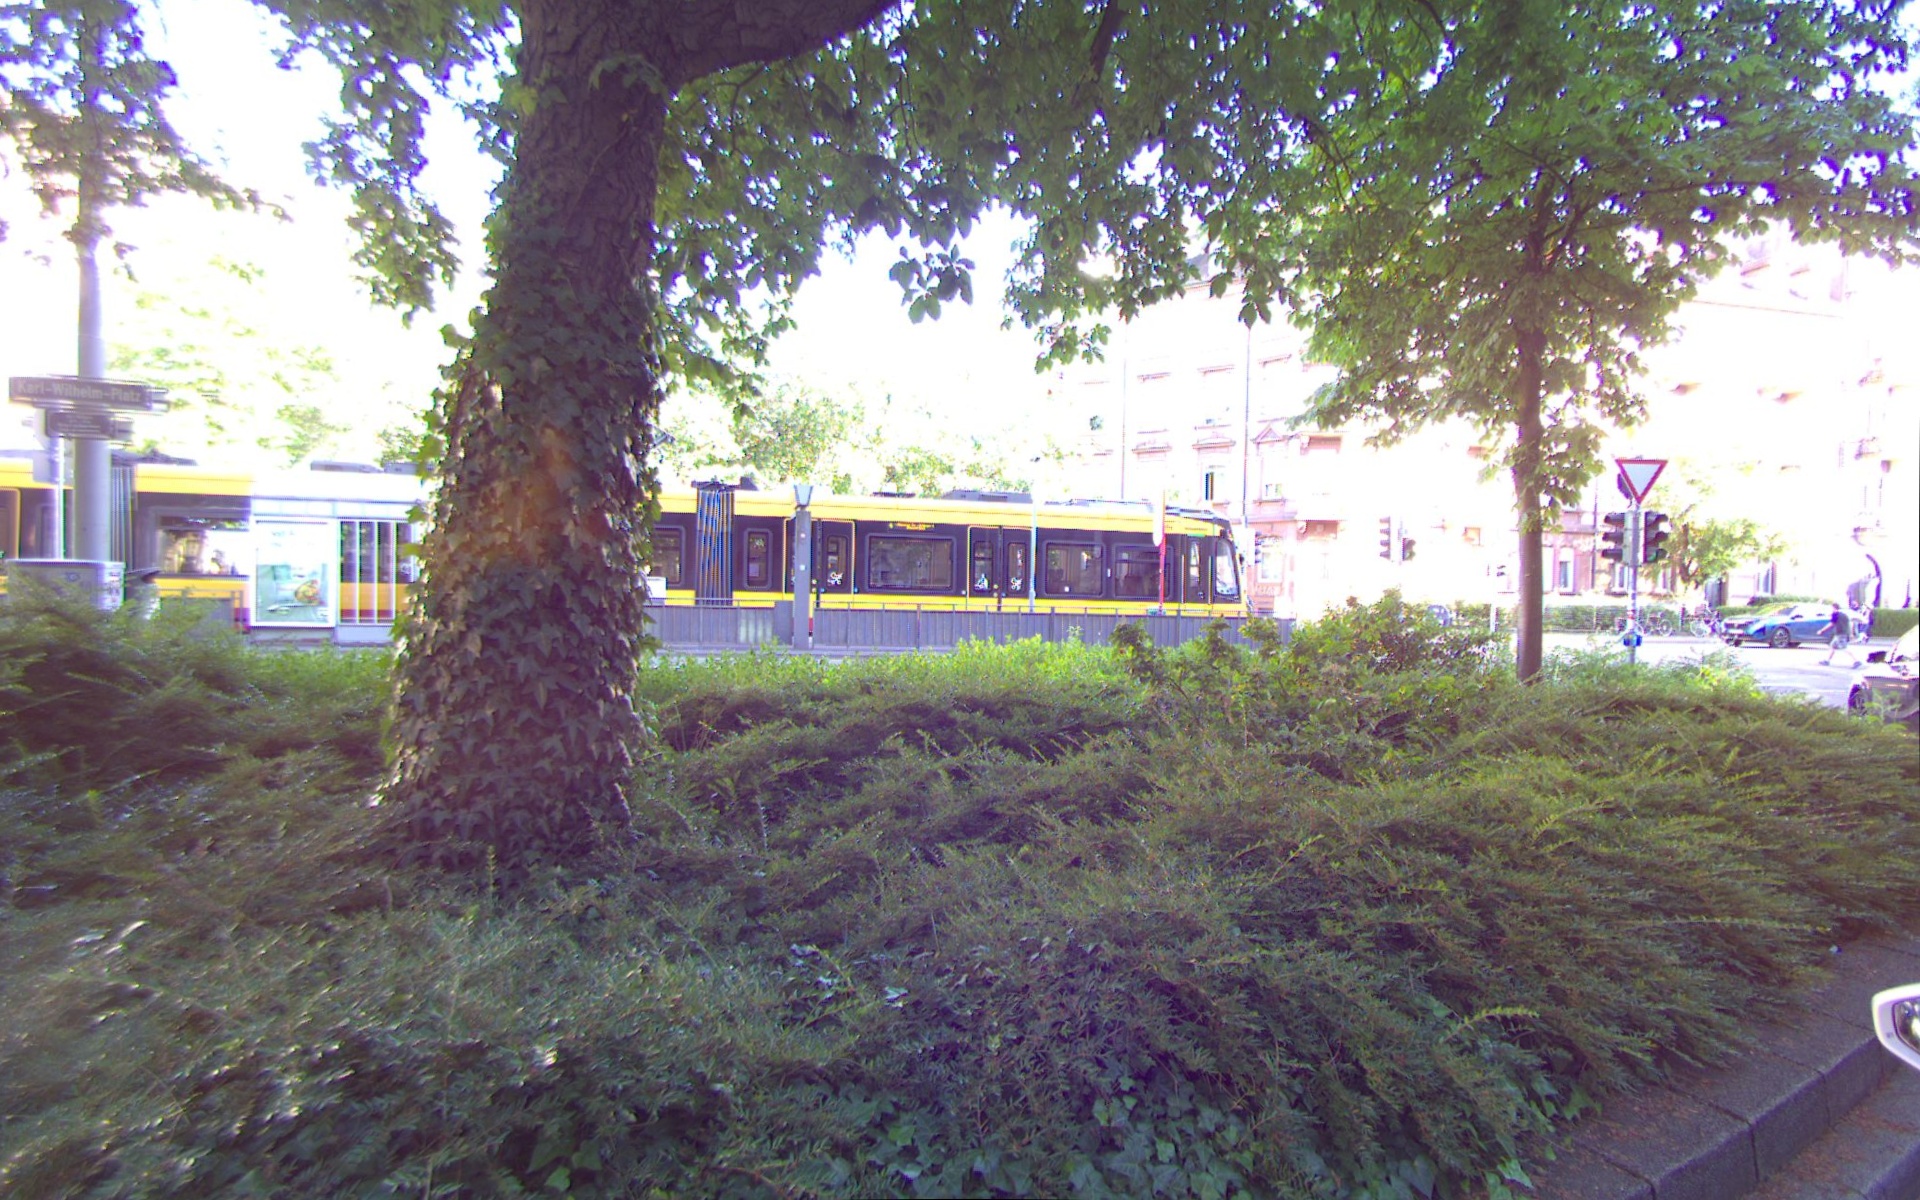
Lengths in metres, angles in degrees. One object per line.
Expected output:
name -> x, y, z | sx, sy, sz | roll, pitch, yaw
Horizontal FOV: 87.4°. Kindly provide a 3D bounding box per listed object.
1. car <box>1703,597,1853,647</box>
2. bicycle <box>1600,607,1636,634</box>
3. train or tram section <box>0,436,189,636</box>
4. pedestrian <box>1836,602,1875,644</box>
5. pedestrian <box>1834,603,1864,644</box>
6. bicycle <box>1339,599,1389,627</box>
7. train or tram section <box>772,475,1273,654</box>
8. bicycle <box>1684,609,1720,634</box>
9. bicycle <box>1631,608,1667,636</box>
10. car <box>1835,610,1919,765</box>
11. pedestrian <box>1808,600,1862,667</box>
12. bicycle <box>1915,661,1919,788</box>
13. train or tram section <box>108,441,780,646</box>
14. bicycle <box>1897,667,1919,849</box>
car -> 29.951, 0.801, 36.820 | 4.333, 1.672, 1.944 | 1, 1, -12
bicycle -> 27.672, 0.861, 42.237 | 1.210, 1.122, 0.442 | 1, 2, -7
train or tram section -> -22.134, -1.310, 18.516 | 12.463, 3.605, 2.766 | 1, 1, -13
pedestrian -> 37.317, 0.953, 41.864 | 0.880, 1.688, 0.712 | 1, 4, 5
pedestrian -> 37.766, 0.991, 42.687 | 0.624, 1.738, 0.664 | 1, 1, 1
bicycle -> 17.582, 0.559, 43.737 | 1.928, 1.122, 0.443 | 3, 2, 22
train or tram section -> 1.475, -0.715, 24.072 | 11.598, 3.668, 2.793 | 1, 1, -13
bicycle -> 31.592, 0.915, 42.769 | 1.211, 1.052, 0.442 | 1, 2, -8
bicycle -> 29.062, 0.929, 42.381 | 1.210, 1.122, 0.442 | 1, 2, -7
car -> 10.824, 0.892, 10.379 | 1.762, 1.562, 3.855 | 0, 0, 27
pedestrian -> 22.729, 0.852, 26.092 | 0.720, 1.657, 0.893 | -1, 4, -44
bicycle -> 8.013, 1.015, 7.643 | 0.799, 1.200, 2.218 | 2, 1, 37
train or tram section -> -10.114, -1.011, 21.340 | 12.206, 3.635, 2.779 | 1, 1, -13
bicycle -> 6.088, 1.010, 5.446 | 0.705, 1.122, 1.966 | 2, 1, 19
